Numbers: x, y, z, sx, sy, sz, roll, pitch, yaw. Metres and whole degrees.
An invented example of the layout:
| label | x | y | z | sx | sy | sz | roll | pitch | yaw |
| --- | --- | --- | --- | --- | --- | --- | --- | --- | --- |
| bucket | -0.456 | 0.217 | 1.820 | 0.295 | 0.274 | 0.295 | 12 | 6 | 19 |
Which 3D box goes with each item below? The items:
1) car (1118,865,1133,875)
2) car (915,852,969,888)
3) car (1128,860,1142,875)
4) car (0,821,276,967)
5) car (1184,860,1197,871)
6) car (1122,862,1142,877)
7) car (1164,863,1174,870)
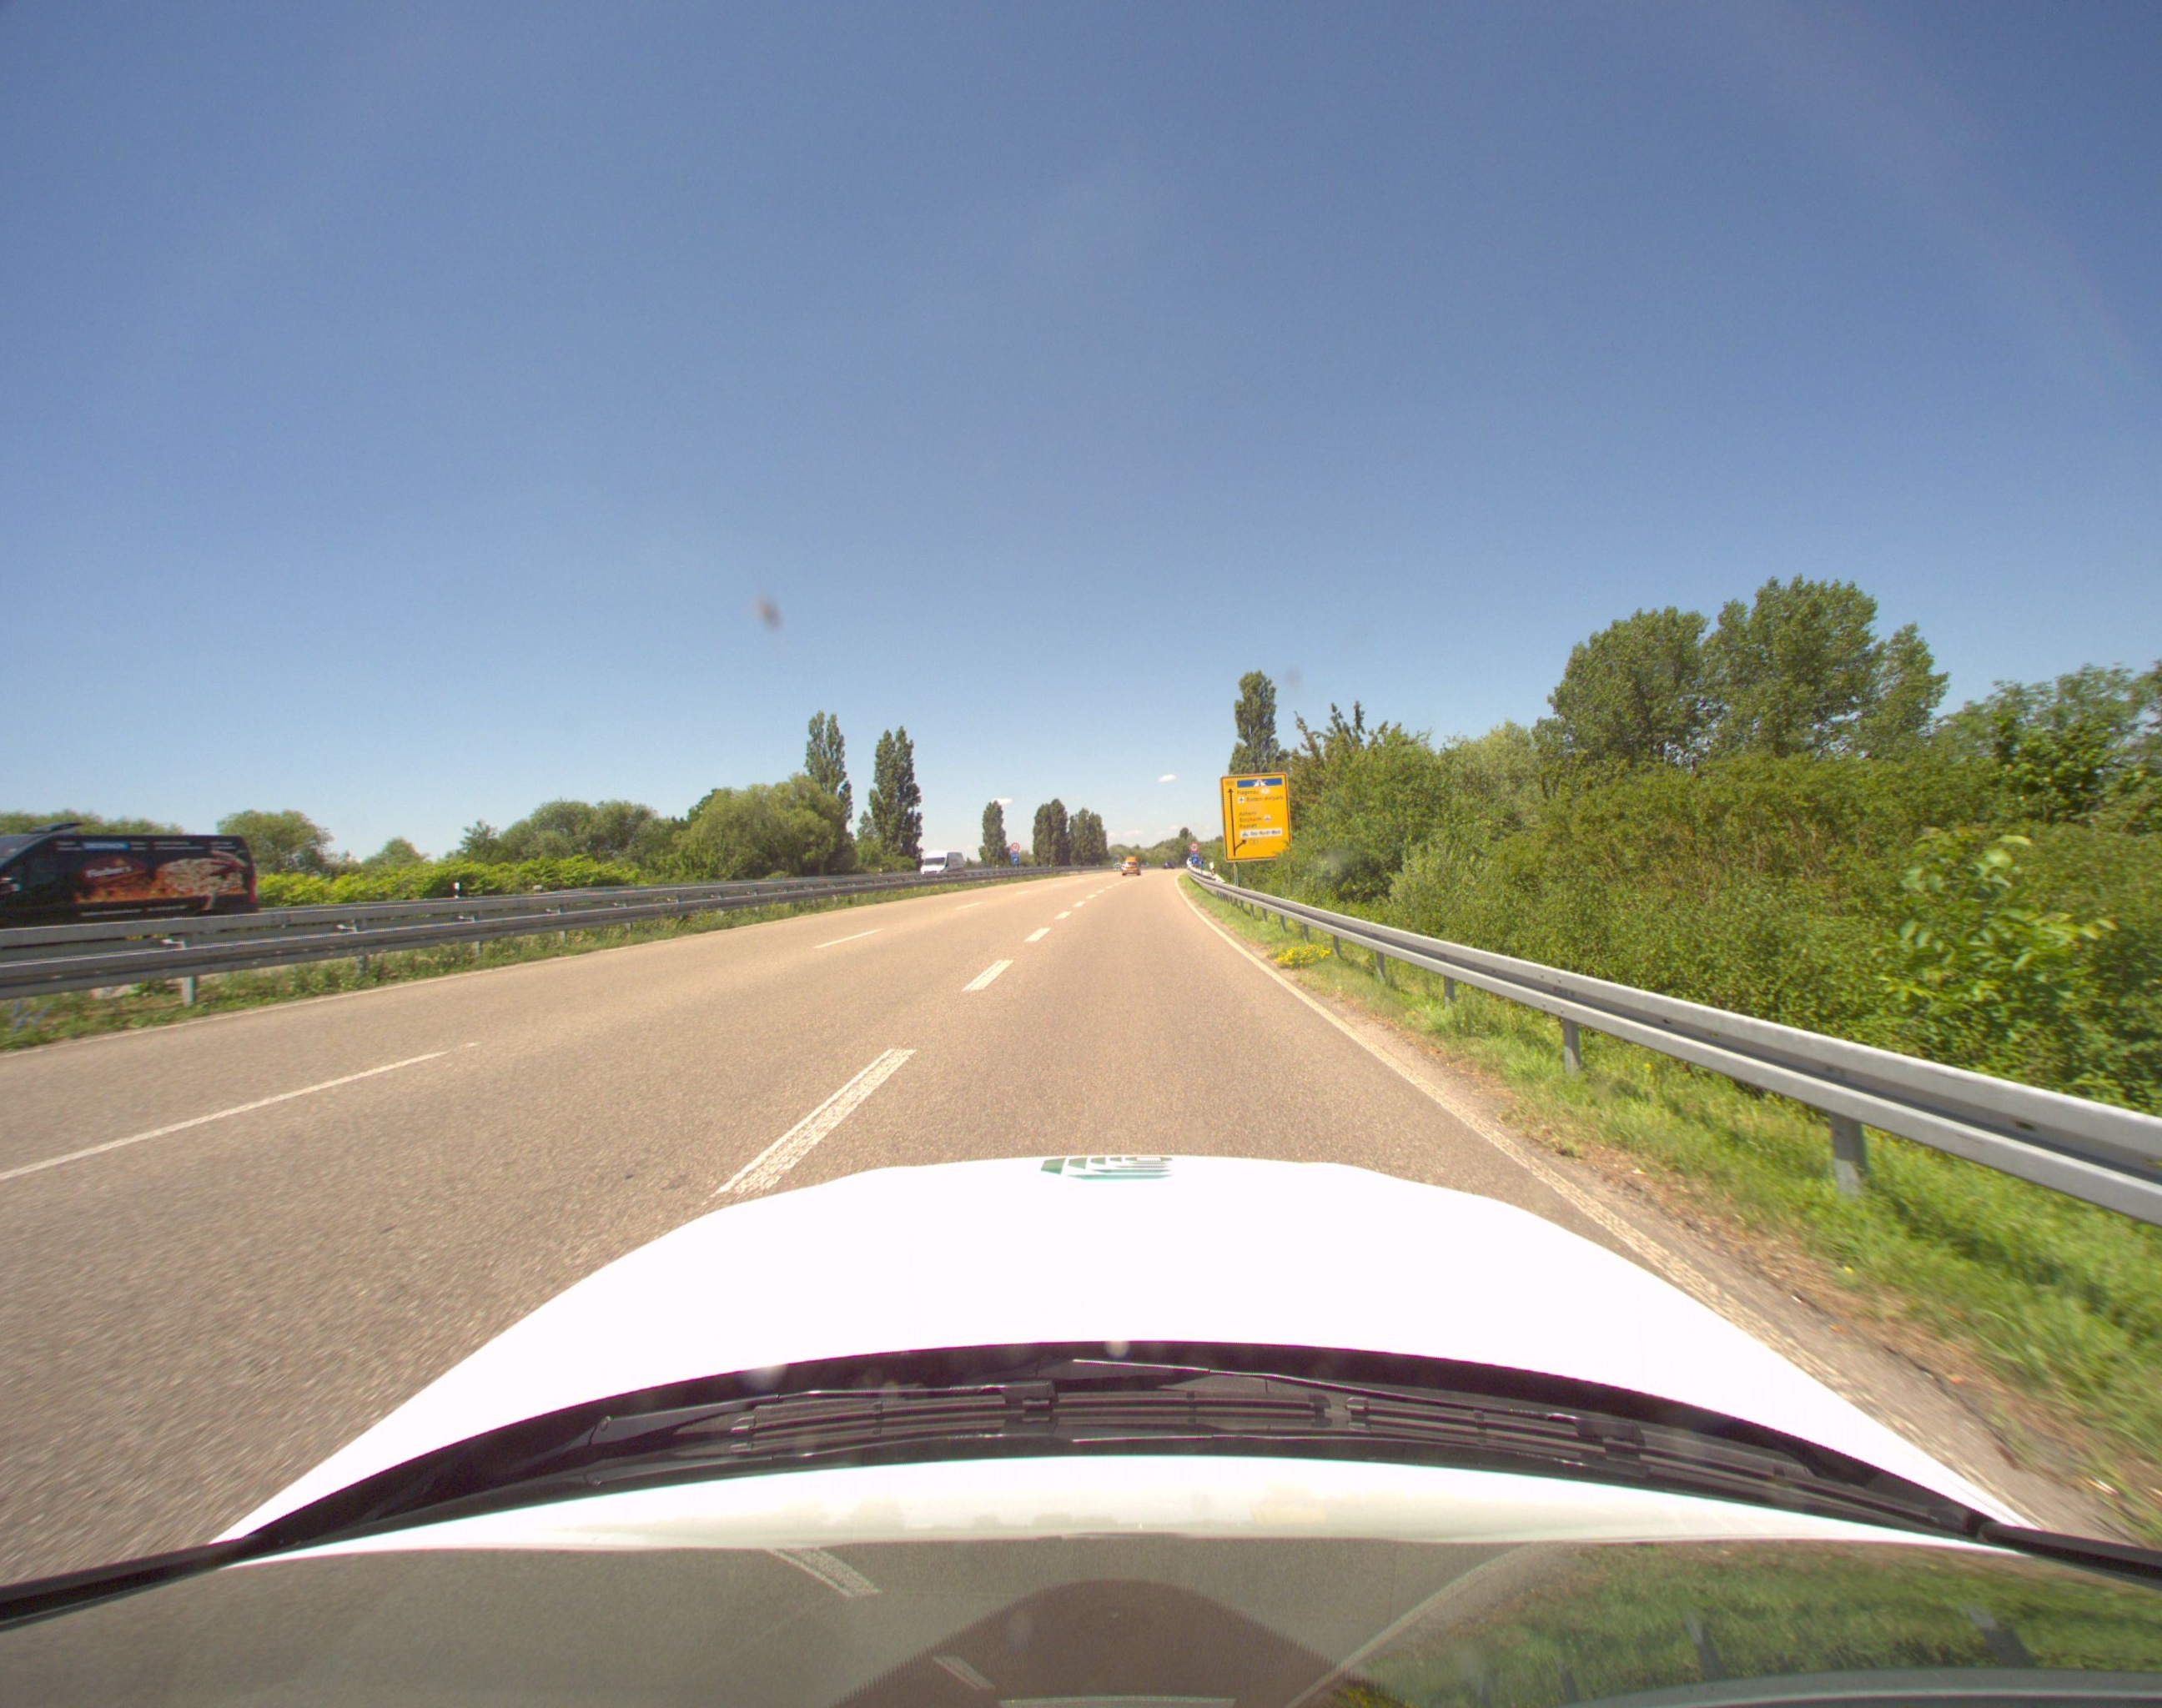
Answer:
| label | x | y | z | sx | sy | sz | roll | pitch | yaw |
| --- | --- | --- | --- | --- | --- | --- | --- | --- | --- |
| car | 6.401 | 2.282 | 115.885 | 1.831 | 1.451 | 4.008 | -1 | -1 | 7 |
| car | -11.400 | 1.354 | 67.424 | 2.266 | 2.774 | 7.235 | -2 | -2 | 7 |
| car | 12.540 | 3.136 | 187.943 | 2.290 | 3.292 | 7.050 | -2 | -1 | 12 |
| car | -20.494 | 0.816 | 16.600 | 2.193 | 2.638 | 5.634 | -2 | -2 | 6 |
| car | 19.688 | 2.016 | 146.152 | 1.828 | 1.895 | 4.015 | -1 | -1 | 14 |
| car | 5.165 | 1.516 | 82.626 | 1.832 | 1.464 | 4.007 | -1 | -1 | 6 |
| car | 18.338 | 2.562 | 169.258 | 1.933 | 1.464 | 4.007 | -1 | -1 | 7 |
